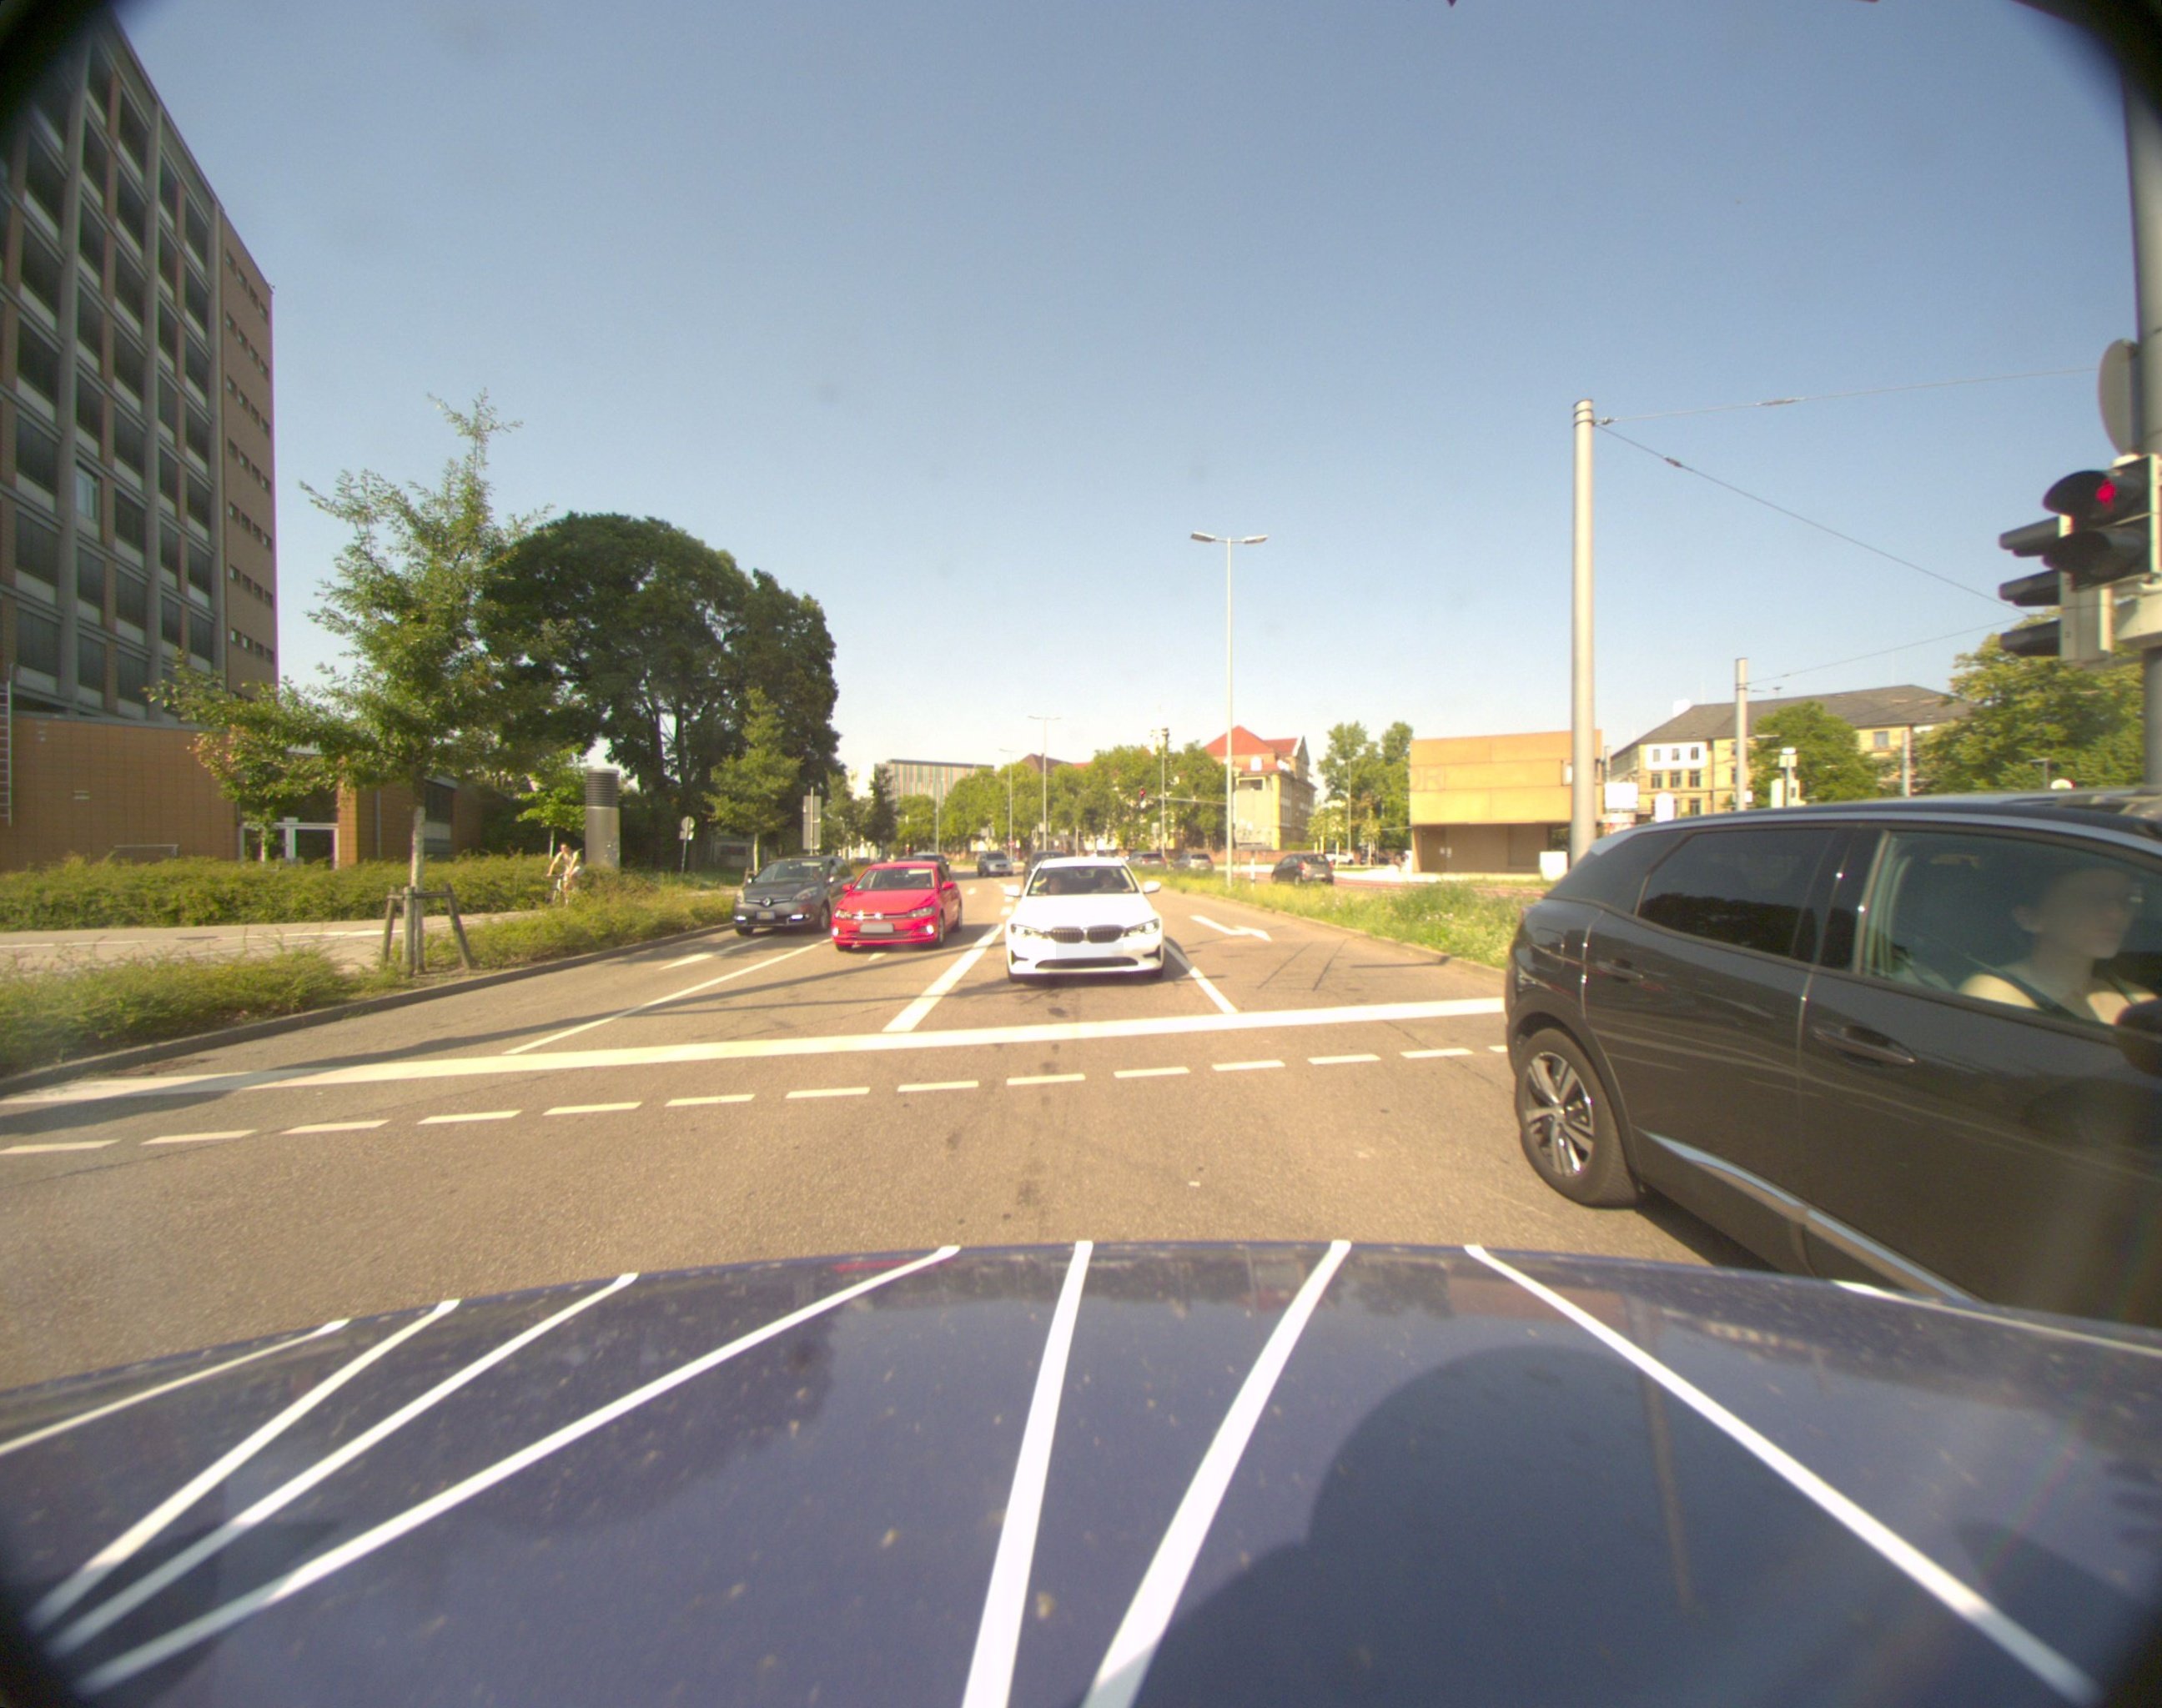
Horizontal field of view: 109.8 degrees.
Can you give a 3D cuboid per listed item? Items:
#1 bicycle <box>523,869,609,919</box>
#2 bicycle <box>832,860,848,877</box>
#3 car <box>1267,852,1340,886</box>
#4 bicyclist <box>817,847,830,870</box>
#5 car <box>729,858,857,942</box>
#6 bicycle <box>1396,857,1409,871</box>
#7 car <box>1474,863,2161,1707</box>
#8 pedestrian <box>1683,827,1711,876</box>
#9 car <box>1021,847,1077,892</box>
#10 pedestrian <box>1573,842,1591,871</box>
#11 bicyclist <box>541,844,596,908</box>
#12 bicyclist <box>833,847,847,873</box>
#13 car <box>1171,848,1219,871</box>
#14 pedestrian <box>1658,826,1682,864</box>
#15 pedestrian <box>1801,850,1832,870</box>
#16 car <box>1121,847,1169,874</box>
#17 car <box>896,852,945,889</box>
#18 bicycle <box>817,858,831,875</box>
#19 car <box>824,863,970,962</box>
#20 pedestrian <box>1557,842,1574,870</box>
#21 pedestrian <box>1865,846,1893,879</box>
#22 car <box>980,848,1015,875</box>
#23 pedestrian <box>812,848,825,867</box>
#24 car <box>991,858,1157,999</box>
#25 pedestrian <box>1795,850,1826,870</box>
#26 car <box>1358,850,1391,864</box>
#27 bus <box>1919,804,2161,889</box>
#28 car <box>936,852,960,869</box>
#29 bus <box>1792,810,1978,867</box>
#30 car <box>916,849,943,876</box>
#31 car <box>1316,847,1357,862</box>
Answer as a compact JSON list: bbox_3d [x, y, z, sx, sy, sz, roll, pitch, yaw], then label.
[{"bbox_3d":[-12.927,0.962,19.185,0.773,1.111,2.302,-1,1,-6],"label":"bicycle"},{"bbox_3d":[-14.380,0.871,45.344,0.722,0.954,1.919,0,1,-12],"label":"bicycle"},{"bbox_3d":[9.997,0.627,34.408,1.894,1.443,3.672,0,0,-7],"label":"car"},{"bbox_3d":[-18.408,0.313,54.393,0.774,1.666,0.923,-1,1,-14],"label":"bicyclist"},{"bbox_3d":[-6.245,0.902,16.999,1.784,1.596,4.418,-1,0,-9],"label":"car"},{"bbox_3d":[20.164,0.614,47.649,0.591,0.833,1.550,-3,-1,27],"label":"bicycle"},{"bbox_3d":[2.666,0.793,1.533,1.686,1.483,4.373,0,0,3],"label":"car"},{"bbox_3d":[22.819,-0.095,28.157,0.699,1.790,0.781,0,1,30],"label":"pedestrian"},{"bbox_3d":[-1.433,0.633,32.294,1.784,1.682,4.530,-3,0,-9],"label":"car"},{"bbox_3d":[28.099,0.141,42.595,0.717,1.621,0.858,0,1,24],"label":"pedestrian"},{"bbox_3d":[-12.940,0.538,19.215,0.773,1.584,0.923,-1,1,-6],"label":"bicyclist"},{"bbox_3d":[-14.380,0.345,45.331,0.722,1.504,1.003,0,1,-12],"label":"bicyclist"},{"bbox_3d":[7.290,0.309,49.011,1.820,1.425,4.220,0,0,-11],"label":"car"},{"bbox_3d":[27.559,-0.418,35.557,0.699,1.790,0.781,0,1,23],"label":"pedestrian"},{"bbox_3d":[41.326,0.350,42.724,1.028,1.126,0.739,0,1,18],"label":"pedestrian"},{"bbox_3d":[4.005,0.401,48.122,1.700,1.608,4.456,0,0,-14],"label":"car"},{"bbox_3d":[-7.705,0.775,36.803,1.941,1.597,4.530,-2,0,-8],"label":"car"},{"bbox_3d":[-18.402,0.878,54.408,0.774,1.111,2.300,-1,1,-14],"label":"bicycle"},{"bbox_3d":[-3.169,0.931,13.955,1.687,1.483,4.371,0,0,-1],"label":"car"},{"bbox_3d":[29.366,0.116,46.071,0.717,1.727,0.858,0,1,24],"label":"pedestrian"},{"bbox_3d":[43.202,0.456,41.160,0.828,1.728,0.837,0,1,29],"label":"pedestrian"},{"bbox_3d":[-5.930,0.563,53.545,1.784,1.710,4.528,-3,0,-14],"label":"car"},{"bbox_3d":[-20.906,0.269,60.490,0.727,1.435,0.857,0,1,-5],"label":"pedestrian"},{"bbox_3d":[0.046,0.817,10.462,1.782,1.474,4.534,0,0,3],"label":"car"},{"bbox_3d":[41.744,0.320,43.488,1.028,1.126,0.739,0,1,18],"label":"pedestrian"},{"bbox_3d":[34.068,0.314,88.156,3.856,1.489,1.621,-1,1,-32],"label":"car"},{"bbox_3d":[41.652,-0.313,32.954,2.709,3.090,12.236,0,0,26],"label":"bus"},{"bbox_3d":[-13.064,0.618,74.678,1.689,1.644,4.365,0,0,-18],"label":"car"},{"bbox_3d":[47.470,-0.853,45.614,3.291,2.960,12.819,0,0,26],"label":"bus"},{"bbox_3d":[-11.336,0.577,56.603,1.689,1.930,4.366,0,0,-14],"label":"car"},{"bbox_3d":[28.490,0.020,84.607,4.379,1.624,1.995,-1,0,-32],"label":"car"}]
